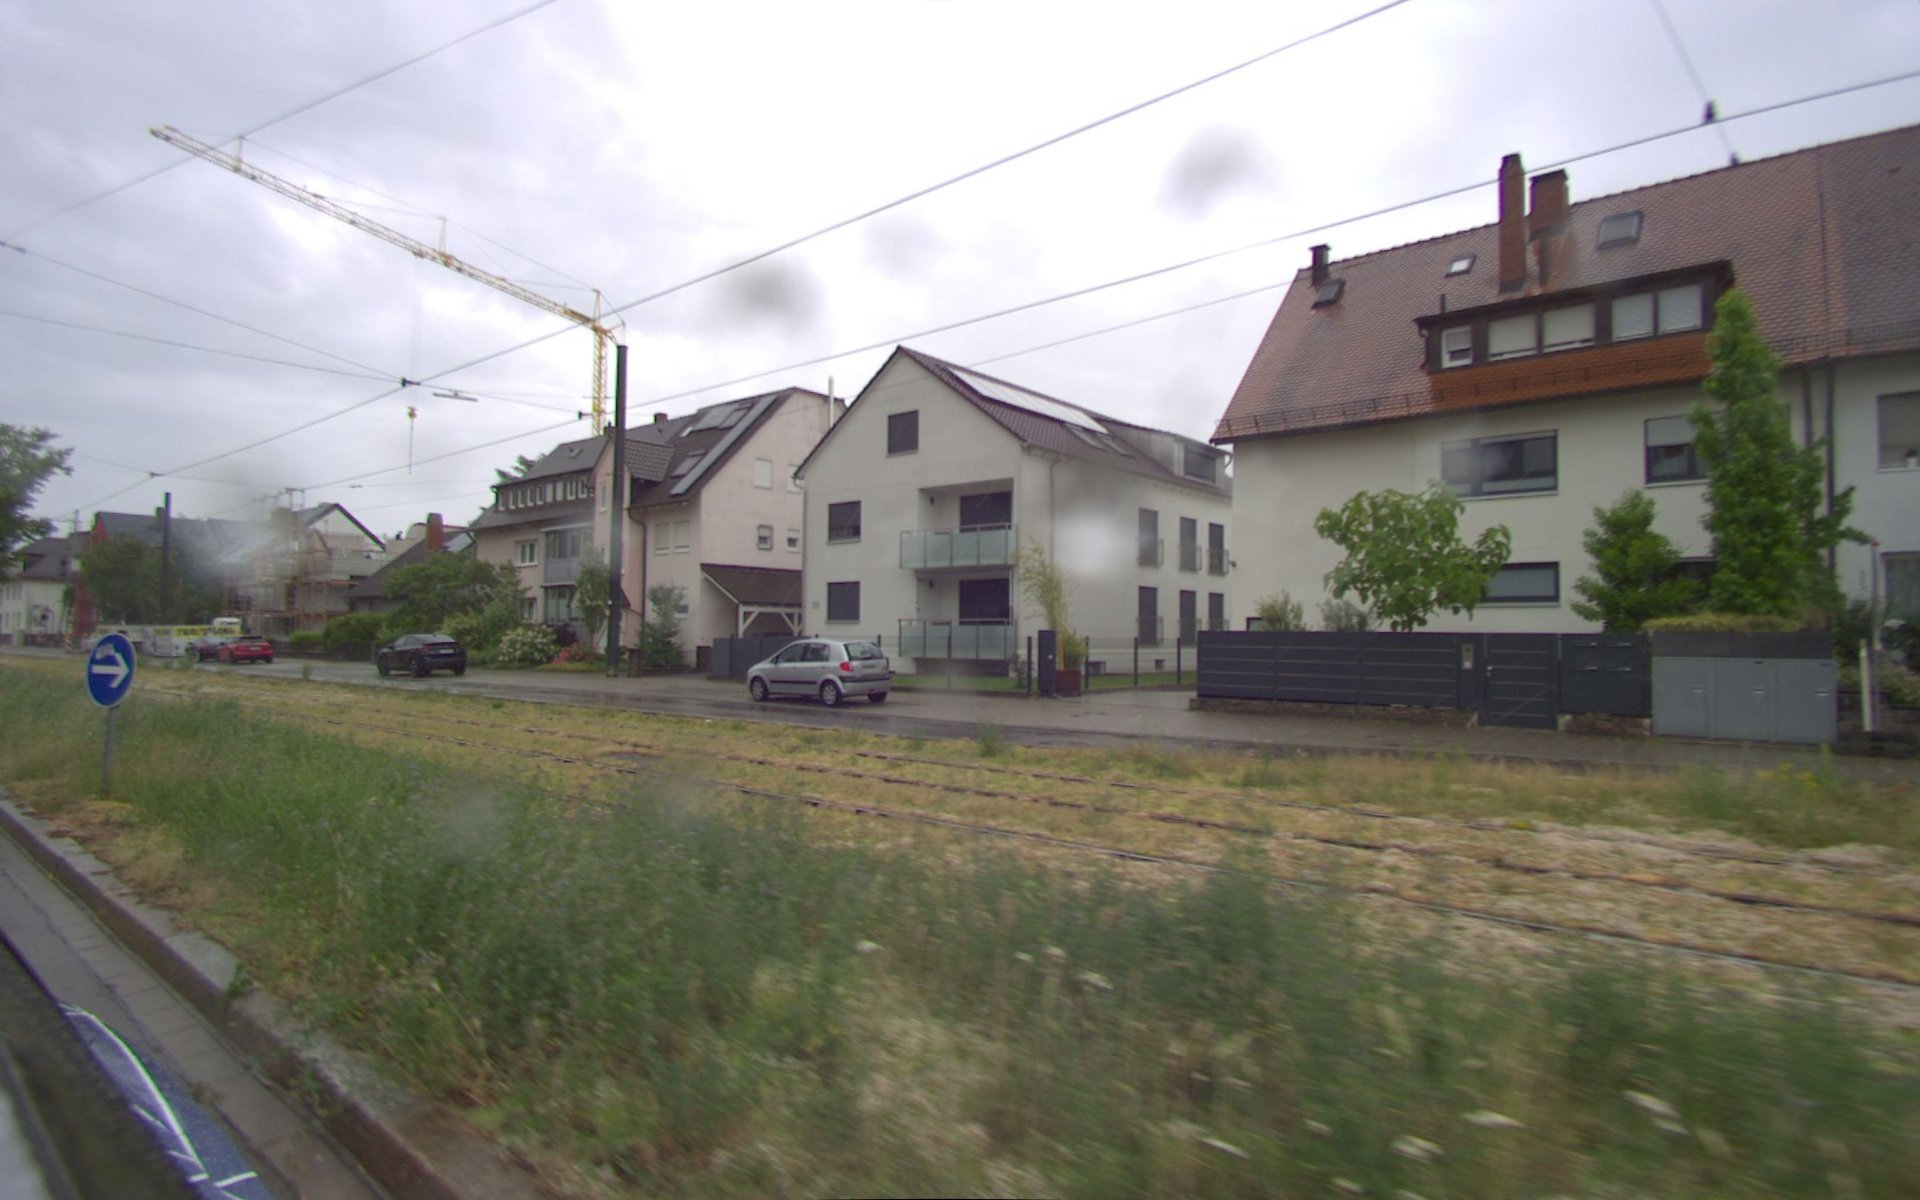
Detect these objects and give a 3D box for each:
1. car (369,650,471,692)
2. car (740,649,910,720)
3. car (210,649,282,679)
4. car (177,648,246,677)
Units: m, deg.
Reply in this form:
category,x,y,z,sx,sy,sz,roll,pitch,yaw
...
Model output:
category,x,y,z,sx,sy,sz,roll,pitch,yaw
car,-19.929,2.592,37.291,4.169,1.438,1.819,-3,-3,39
car,-3.169,1.899,23.538,3.654,1.424,1.974,-1,-2,39
car,-35.794,3.182,50.713,3.839,1.383,1.974,-1,-2,39
car,-39.905,3.350,53.946,4.169,1.420,1.974,-4,-4,39
